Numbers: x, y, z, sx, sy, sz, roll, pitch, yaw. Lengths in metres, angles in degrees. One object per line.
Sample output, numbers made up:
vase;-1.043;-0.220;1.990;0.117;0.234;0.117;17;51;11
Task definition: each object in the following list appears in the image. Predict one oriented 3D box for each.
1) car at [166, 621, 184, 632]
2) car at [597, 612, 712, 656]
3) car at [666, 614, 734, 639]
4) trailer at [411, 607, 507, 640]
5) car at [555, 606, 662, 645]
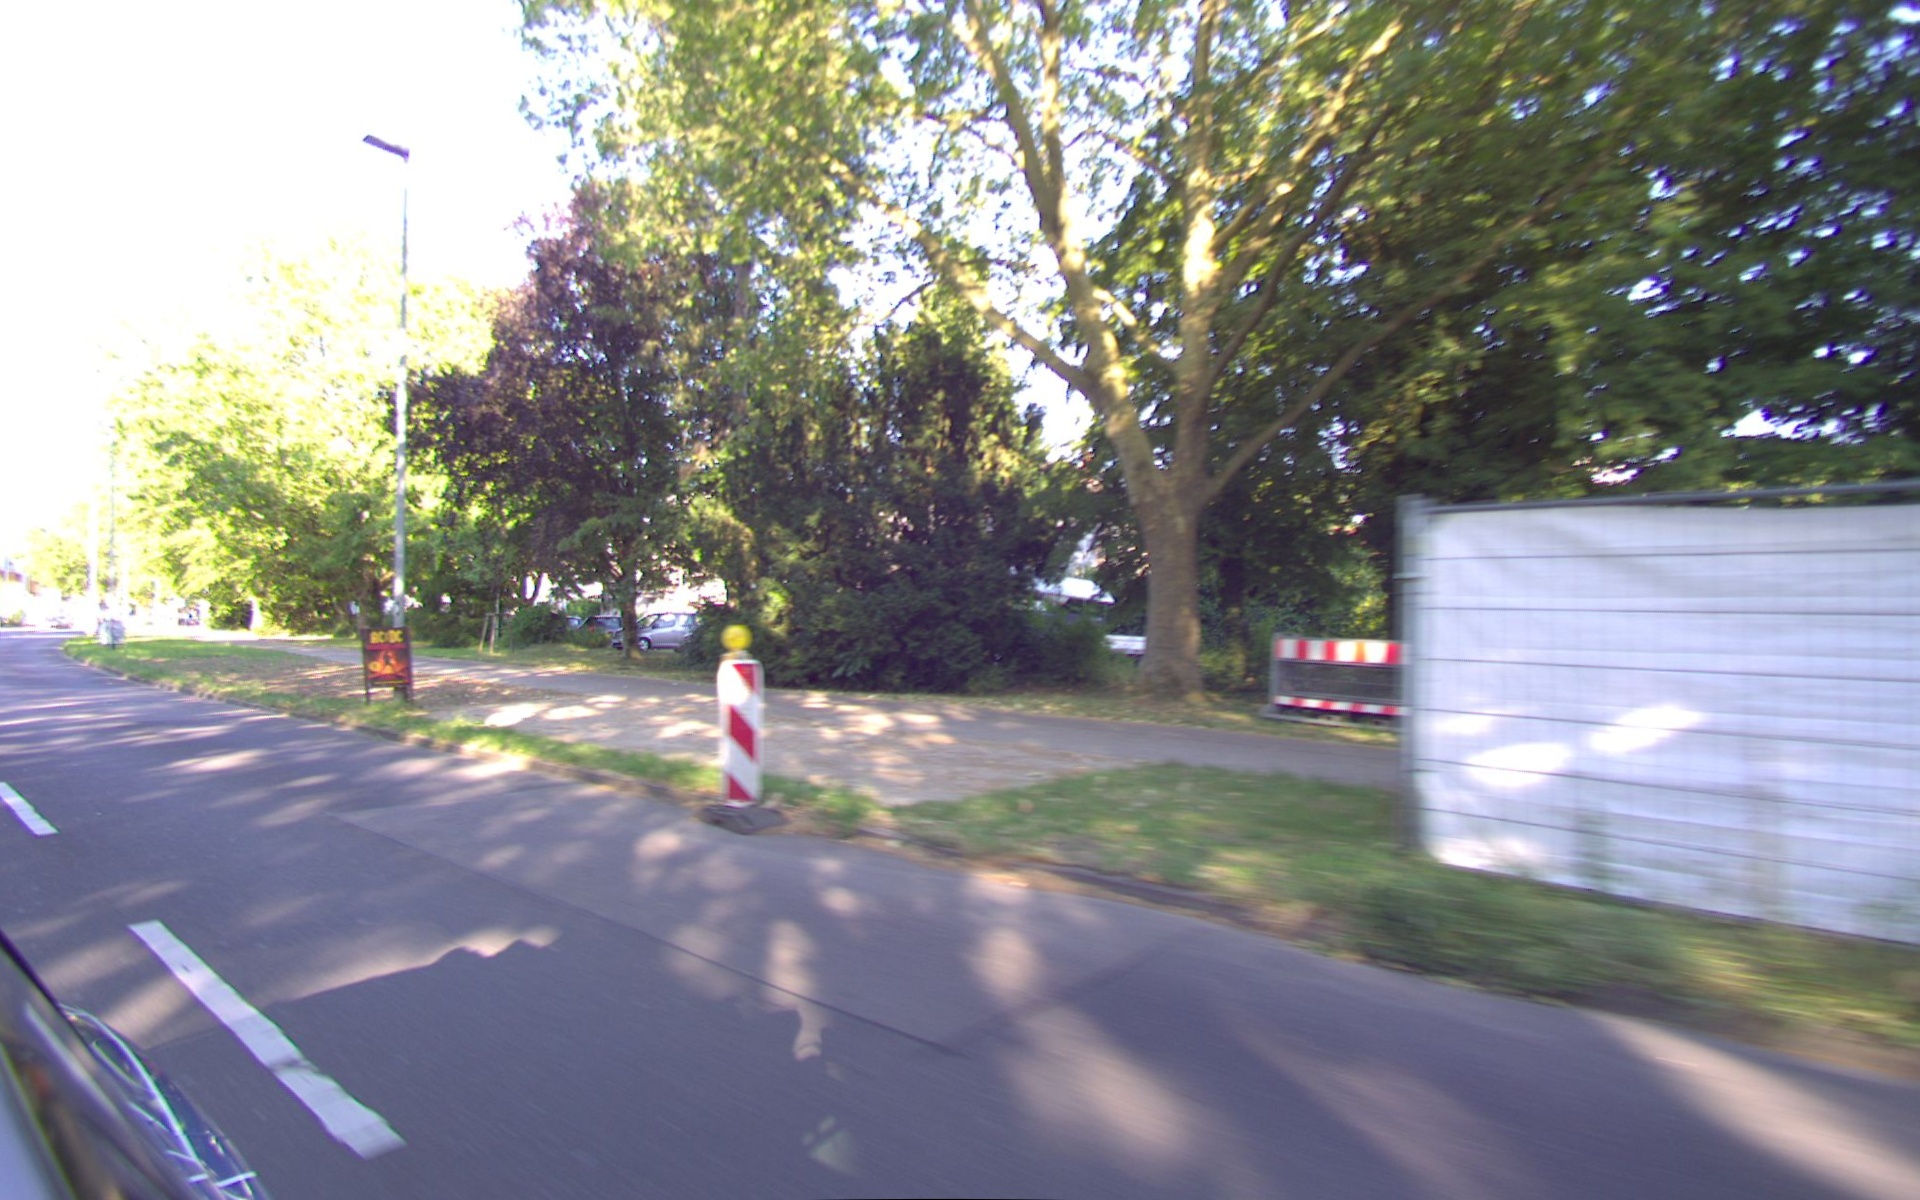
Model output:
car;-112.829;3.839;145.501;1.737;1.494;4.119;-2;0;-33
car;-12.062;1.309;40.064;1.929;1.613;3.945;1;0;42
car;-17.203;1.720;66.962;1.929;1.613;3.944;0;-1;42
trailer;-25.309;1.160;51.208;3.941;1.567;2.001;1;-1;-44
car;-15.185;1.116;43.810;1.929;1.613;3.944;-1;-2;42
